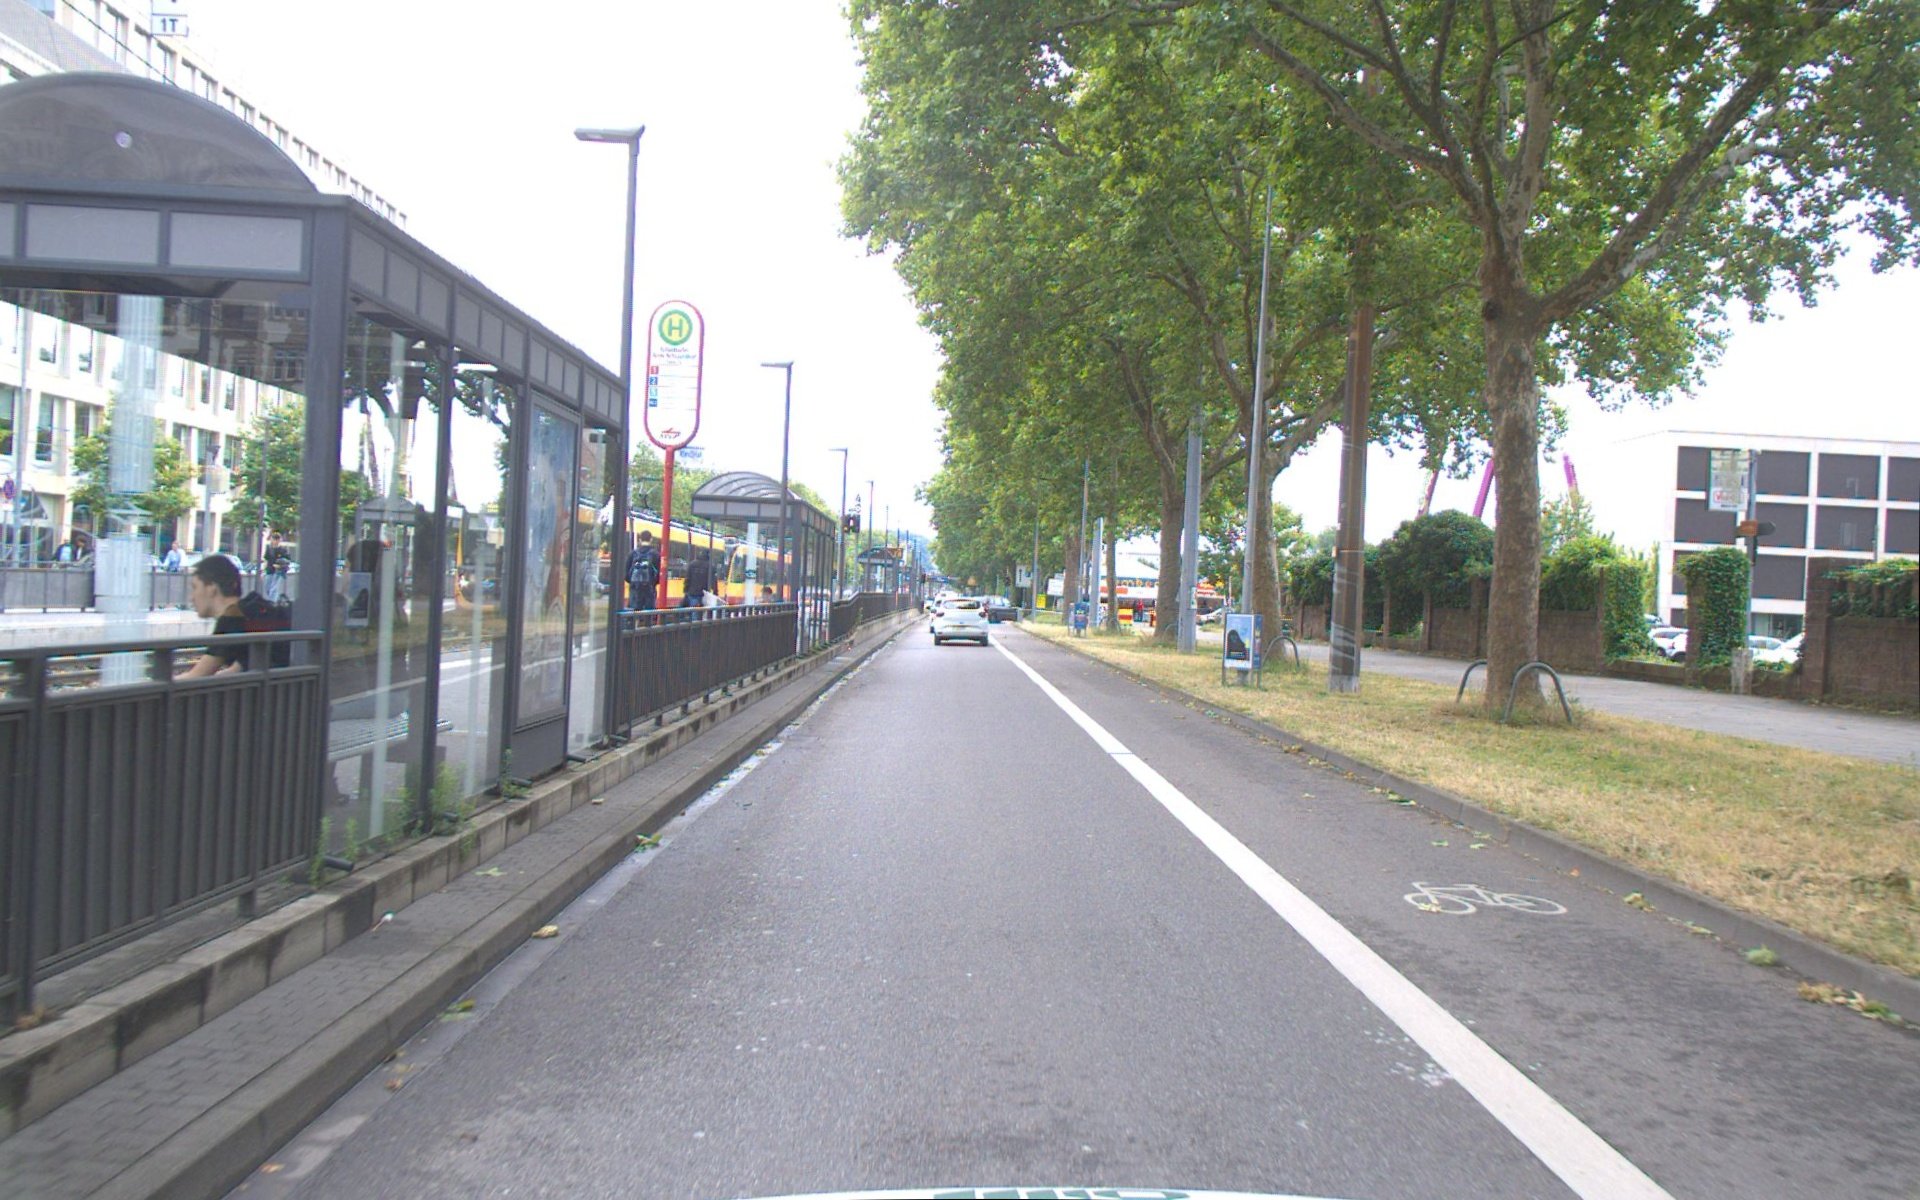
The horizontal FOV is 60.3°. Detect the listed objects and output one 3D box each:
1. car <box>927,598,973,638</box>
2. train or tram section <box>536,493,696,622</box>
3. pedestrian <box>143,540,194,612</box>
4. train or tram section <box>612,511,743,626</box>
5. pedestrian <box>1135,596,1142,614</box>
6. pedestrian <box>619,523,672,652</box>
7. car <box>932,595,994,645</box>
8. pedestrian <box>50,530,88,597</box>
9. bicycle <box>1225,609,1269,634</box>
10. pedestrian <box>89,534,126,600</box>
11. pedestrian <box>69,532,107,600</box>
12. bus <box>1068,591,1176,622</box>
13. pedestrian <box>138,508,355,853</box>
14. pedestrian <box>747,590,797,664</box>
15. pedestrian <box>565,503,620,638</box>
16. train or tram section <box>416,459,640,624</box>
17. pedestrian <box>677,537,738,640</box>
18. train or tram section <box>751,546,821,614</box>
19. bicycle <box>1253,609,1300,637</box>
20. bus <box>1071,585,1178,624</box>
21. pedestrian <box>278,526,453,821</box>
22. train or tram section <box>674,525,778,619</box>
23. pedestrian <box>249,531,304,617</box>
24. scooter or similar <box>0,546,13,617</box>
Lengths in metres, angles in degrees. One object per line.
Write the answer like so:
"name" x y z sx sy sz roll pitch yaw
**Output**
"car" -0.388 0.745 70.321 1.803 1.579 4.000 2 0 1
"train or tram section" -11.708 -1.298 57.668 3.099 3.929 11.310 2 -1 0
"pedestrian" -22.971 -0.686 48.009 0.914 2.049 1.032 2 -1 -2
"train or tram section" -11.693 -1.147 70.124 3.115 4.252 13.618 2 -1 0
"pedestrian" 14.812 0.415 137.426 0.483 1.488 0.523 2 -1 -3
"pedestrian" -4.601 -0.171 24.274 0.657 1.825 1.111 2 -1 -9
"car" 0.107 0.639 53.416 1.847 1.478 4.000 2 -1 0
"pedestrian" -27.926 -1.140 51.832 0.698 2.049 0.725 2 -1 -1
"bicycle" 12.885 0.971 74.284 1.883 1.110 0.549 1 -1 -2
"pedestrian" -26.947 -1.032 52.273 0.698 2.049 0.725 2 -1 -1
"pedestrian" -26.890 -1.041 50.998 0.698 2.049 0.725 2 -1 -1
"bus" 13.976 0.568 143.103 9.092 2.266 1.999 2 -1 -3
"pedestrian" -2.986 0.327 6.973 0.598 1.364 0.600 2 -1 0
"pedestrian" -3.463 0.496 30.498 0.818 1.326 0.613 2 -1 -2
"pedestrian" -5.181 -0.407 23.301 0.658 1.825 1.109 2 -1 -13
"train or tram section" -11.711 -1.392 46.289 3.171 3.929 11.310 2 -1 0
"pedestrian" -5.174 -0.225 33.905 1.037 2.049 0.840 2 -1 -1
"train or tram section" -11.797 -1.232 113.575 3.115 4.252 14.732 2 -1 0
"bicycle" 13.236 0.955 69.137 1.852 1.124 0.549 1 -1 -2
"bus" 14.562 0.404 146.689 9.092 3.011 1.999 2 -1 -3
"pedestrian" -2.951 0.355 8.259 0.598 1.396 0.600 2 -1 0
"train or tram section" -11.678 -1.237 84.192 3.115 4.252 14.732 2 -1 0
"pedestrian" -15.094 -0.563 36.547 0.697 1.827 1.160 2 -1 -2
"scooter or similar" -15.574 -0.314 25.608 0.512 1.134 2.226 2 -1 -1
